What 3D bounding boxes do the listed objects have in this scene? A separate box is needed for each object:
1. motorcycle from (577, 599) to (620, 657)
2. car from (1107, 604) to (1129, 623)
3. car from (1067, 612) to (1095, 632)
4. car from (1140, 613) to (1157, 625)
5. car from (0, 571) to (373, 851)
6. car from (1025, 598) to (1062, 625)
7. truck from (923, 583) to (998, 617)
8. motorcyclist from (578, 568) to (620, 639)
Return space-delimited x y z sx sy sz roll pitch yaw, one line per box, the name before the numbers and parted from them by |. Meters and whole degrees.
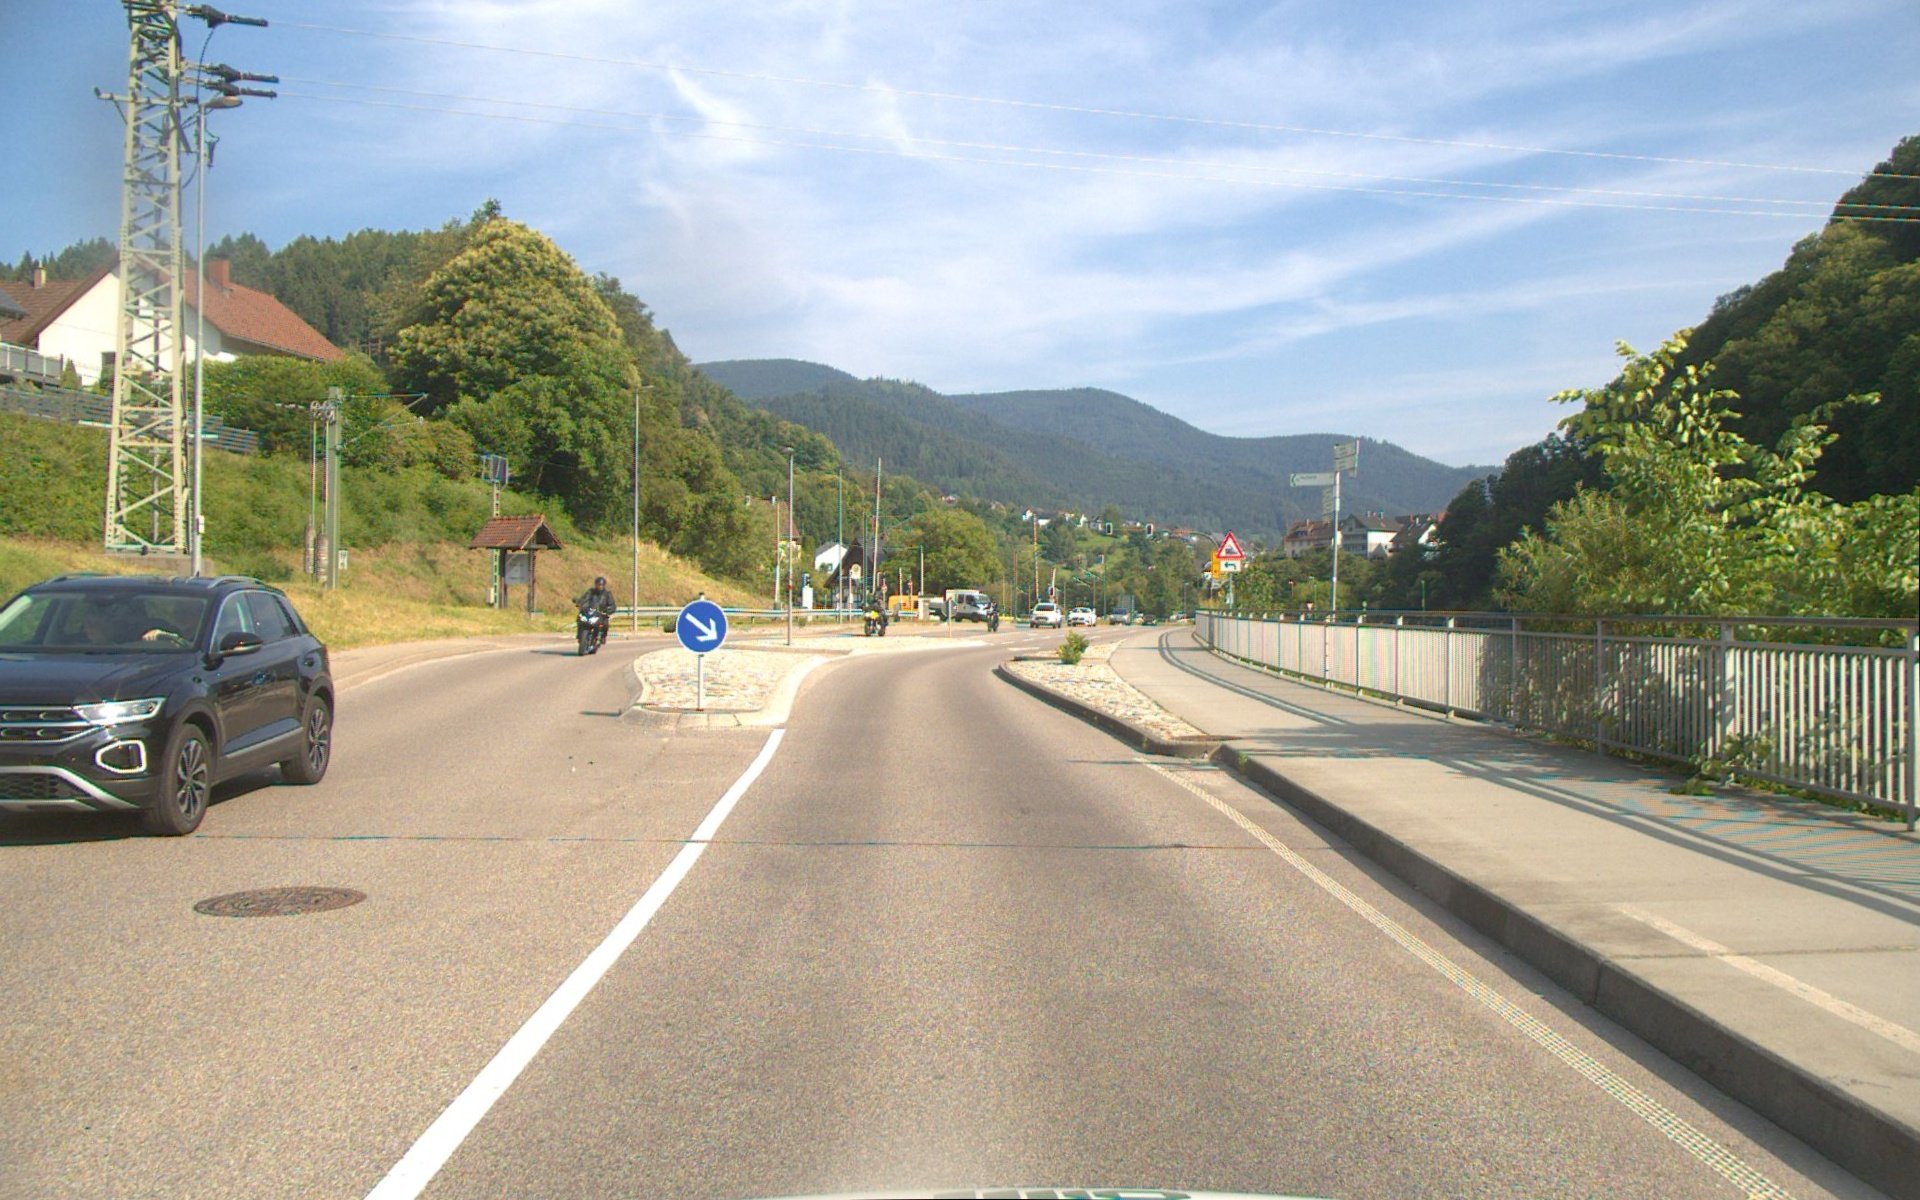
motorcycle | -7.952 0.597 36.474 0.879 1.204 2.299 1 1 -11
car | 15.207 1.300 158.679 1.721 1.548 4.207 1 -3 11
car | 9.281 1.702 126.833 1.744 1.424 4.830 2 0 8
car | 21.973 2.223 193.124 1.735 1.441 3.788 1 0 10
car | -5.480 0.594 11.235 1.740 1.543 4.268 0 0 -5
car | 5.602 0.747 110.158 1.726 1.587 4.004 1 2 14
truck | -0.017 -0.039 124.409 5.901 2.306 1.986 3 1 44
motorcyclist | -7.981 0.076 36.568 0.889 1.545 0.845 0 0 -12
